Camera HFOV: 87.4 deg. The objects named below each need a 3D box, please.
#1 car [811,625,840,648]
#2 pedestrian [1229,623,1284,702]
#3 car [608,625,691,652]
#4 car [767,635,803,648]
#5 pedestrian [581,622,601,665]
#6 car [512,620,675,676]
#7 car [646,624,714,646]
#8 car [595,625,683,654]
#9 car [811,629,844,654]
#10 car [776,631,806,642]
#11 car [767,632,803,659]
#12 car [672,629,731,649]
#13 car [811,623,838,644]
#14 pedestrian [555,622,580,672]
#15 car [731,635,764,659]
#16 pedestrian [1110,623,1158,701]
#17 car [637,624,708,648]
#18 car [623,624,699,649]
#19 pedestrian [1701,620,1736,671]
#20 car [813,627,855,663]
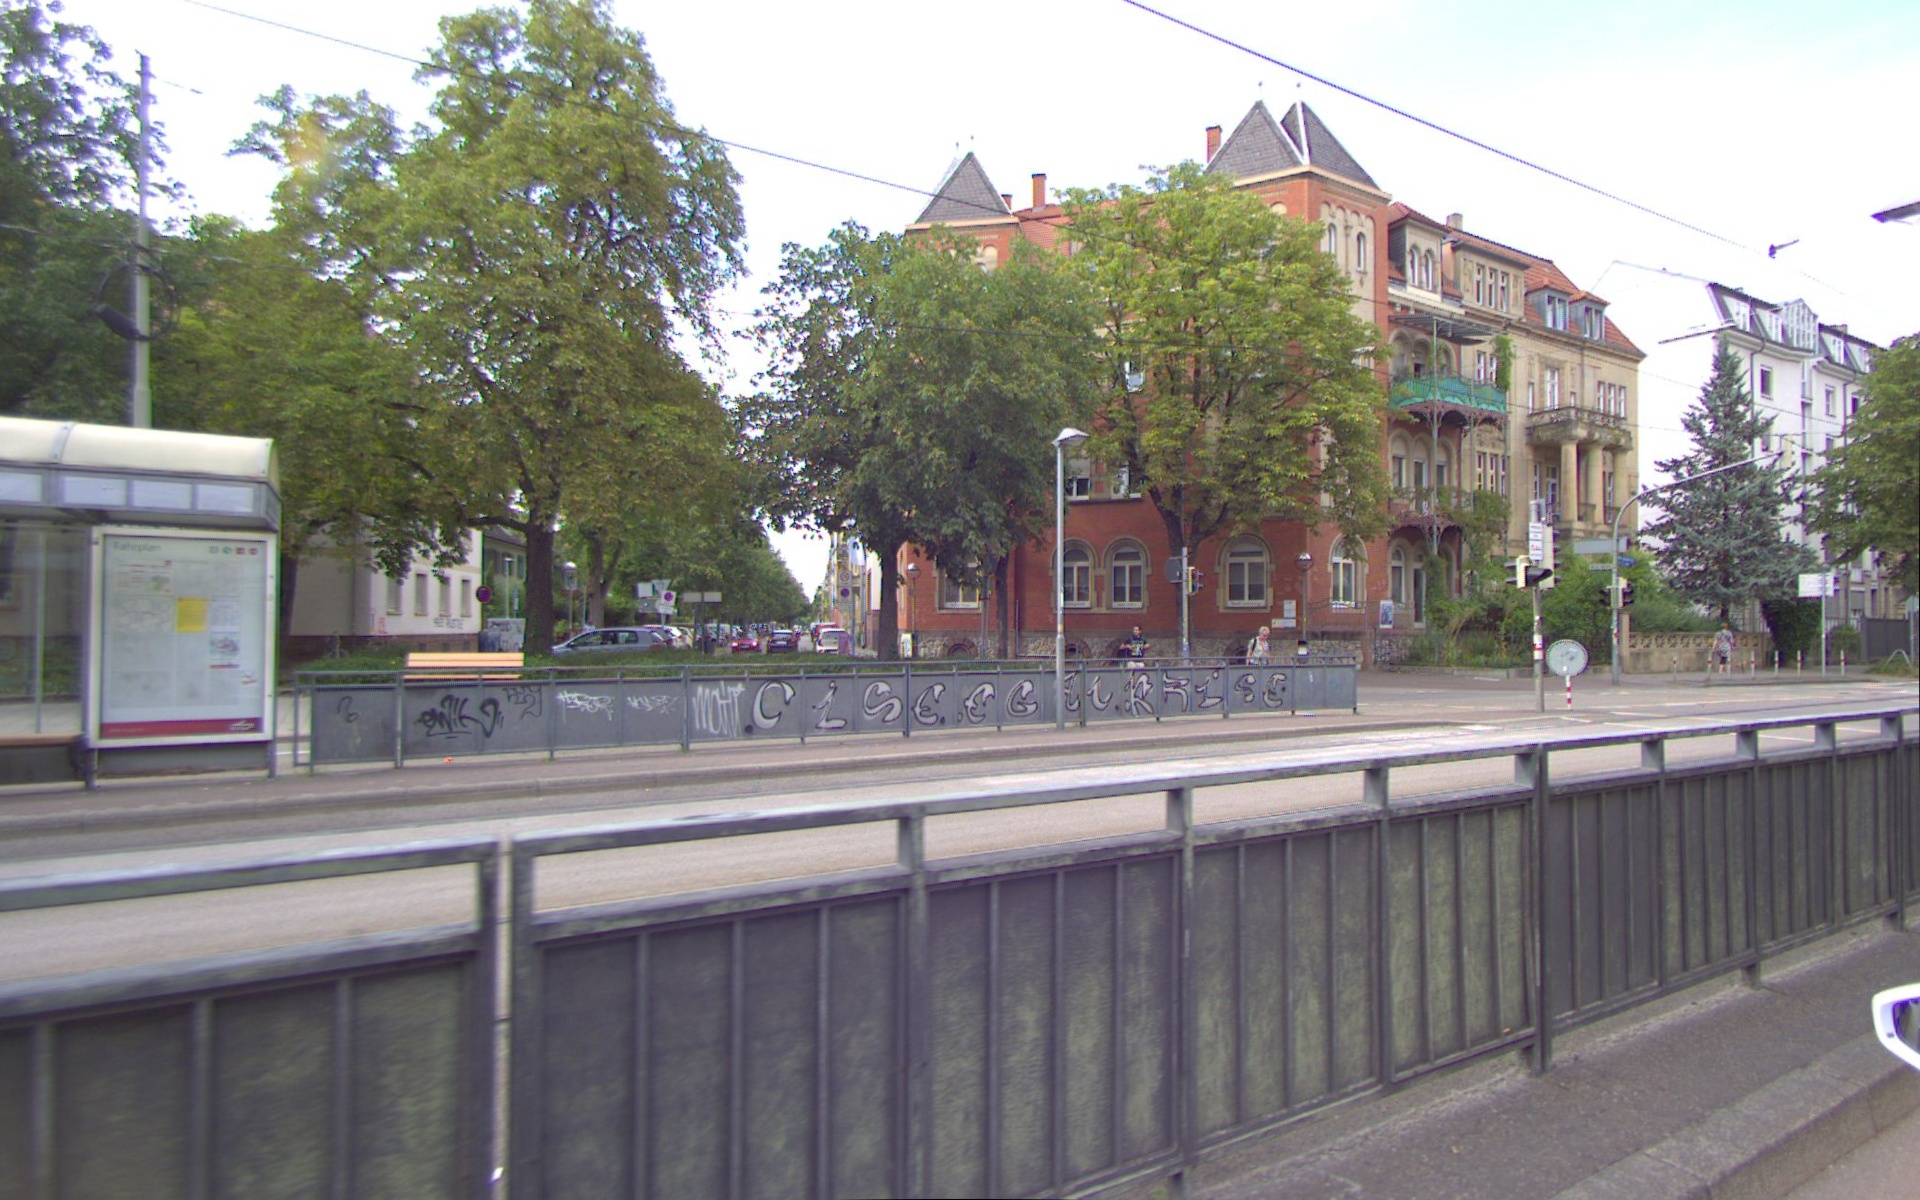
[{"bbox_3d":[-8.470,2.274,63.443,1.782,1.413,3.996,0,-2,-7],"label":"car"},{"bbox_3d":[6.392,1.334,21.663,0.737,1.654,0.863,1,-2,-35],"label":"pedestrian"},{"bbox_3d":[-16.292,2.017,52.927,3.927,1.414,1.813,0,-2,-8],"label":"car"},{"bbox_3d":[-19.696,4.634,113.043,3.927,1.414,1.813,0,-2,-8],"label":"car"},{"bbox_3d":[-15.326,1.790,41.735,0.671,1.777,0.732,0,-1,-9],"label":"pedestrian"},{"bbox_3d":[-10.990,1.437,30.443,4.268,1.599,2.209,0,-1,-9],"label":"car"},{"bbox_3d":[-17.887,2.234,64.316,3.927,1.414,1.813,0,-2,-8],"label":"car"},{"bbox_3d":[-15.967,1.965,50.149,3.927,1.414,1.813,0,-2,-8],"label":"car"},{"bbox_3d":[-7.633,2.382,57.968,1.782,1.413,3.996,0,-2,-7],"label":"car"},{"bbox_3d":[-22.110,4.730,131.533,3.927,1.414,1.813,0,-2,-8],"label":"car"},{"bbox_3d":[-9.750,2.513,56.132,1.782,1.497,3.996,0,-2,-7],"label":"car"},{"bbox_3d":[-18.738,2.795,72.843,3.927,1.414,1.813,0,-2,-8],"label":"car"},{"bbox_3d":[-9.195,2.293,68.416,1.782,1.413,3.996,0,-2,-7],"label":"car"},{"bbox_3d":[-14.218,1.700,36.431,0.720,1.777,0.752,0,-1,-12],"label":"pedestrian"},{"bbox_3d":[-13.710,2.990,64.965,1.782,1.497,3.996,0,-2,-7],"label":"car"},{"bbox_3d":[3.987,1.402,23.011,0.725,1.725,0.827,1,-2,-35],"label":"pedestrian"},{"bbox_3d":[-17.319,2.164,60.656,3.927,1.414,1.813,0,-2,-8],"label":"car"},{"bbox_3d":[-17.207,2.110,57.993,3.927,1.414,1.813,0,-2,-8],"label":"car"},{"bbox_3d":[26.922,1.603,35.662,0.825,1.807,0.727,1,-2,-30],"label":"pedestrian"},{"bbox_3d":[-5.622,1.989,44.908,1.782,1.497,3.996,0,-2,-7],"label":"car"}]
